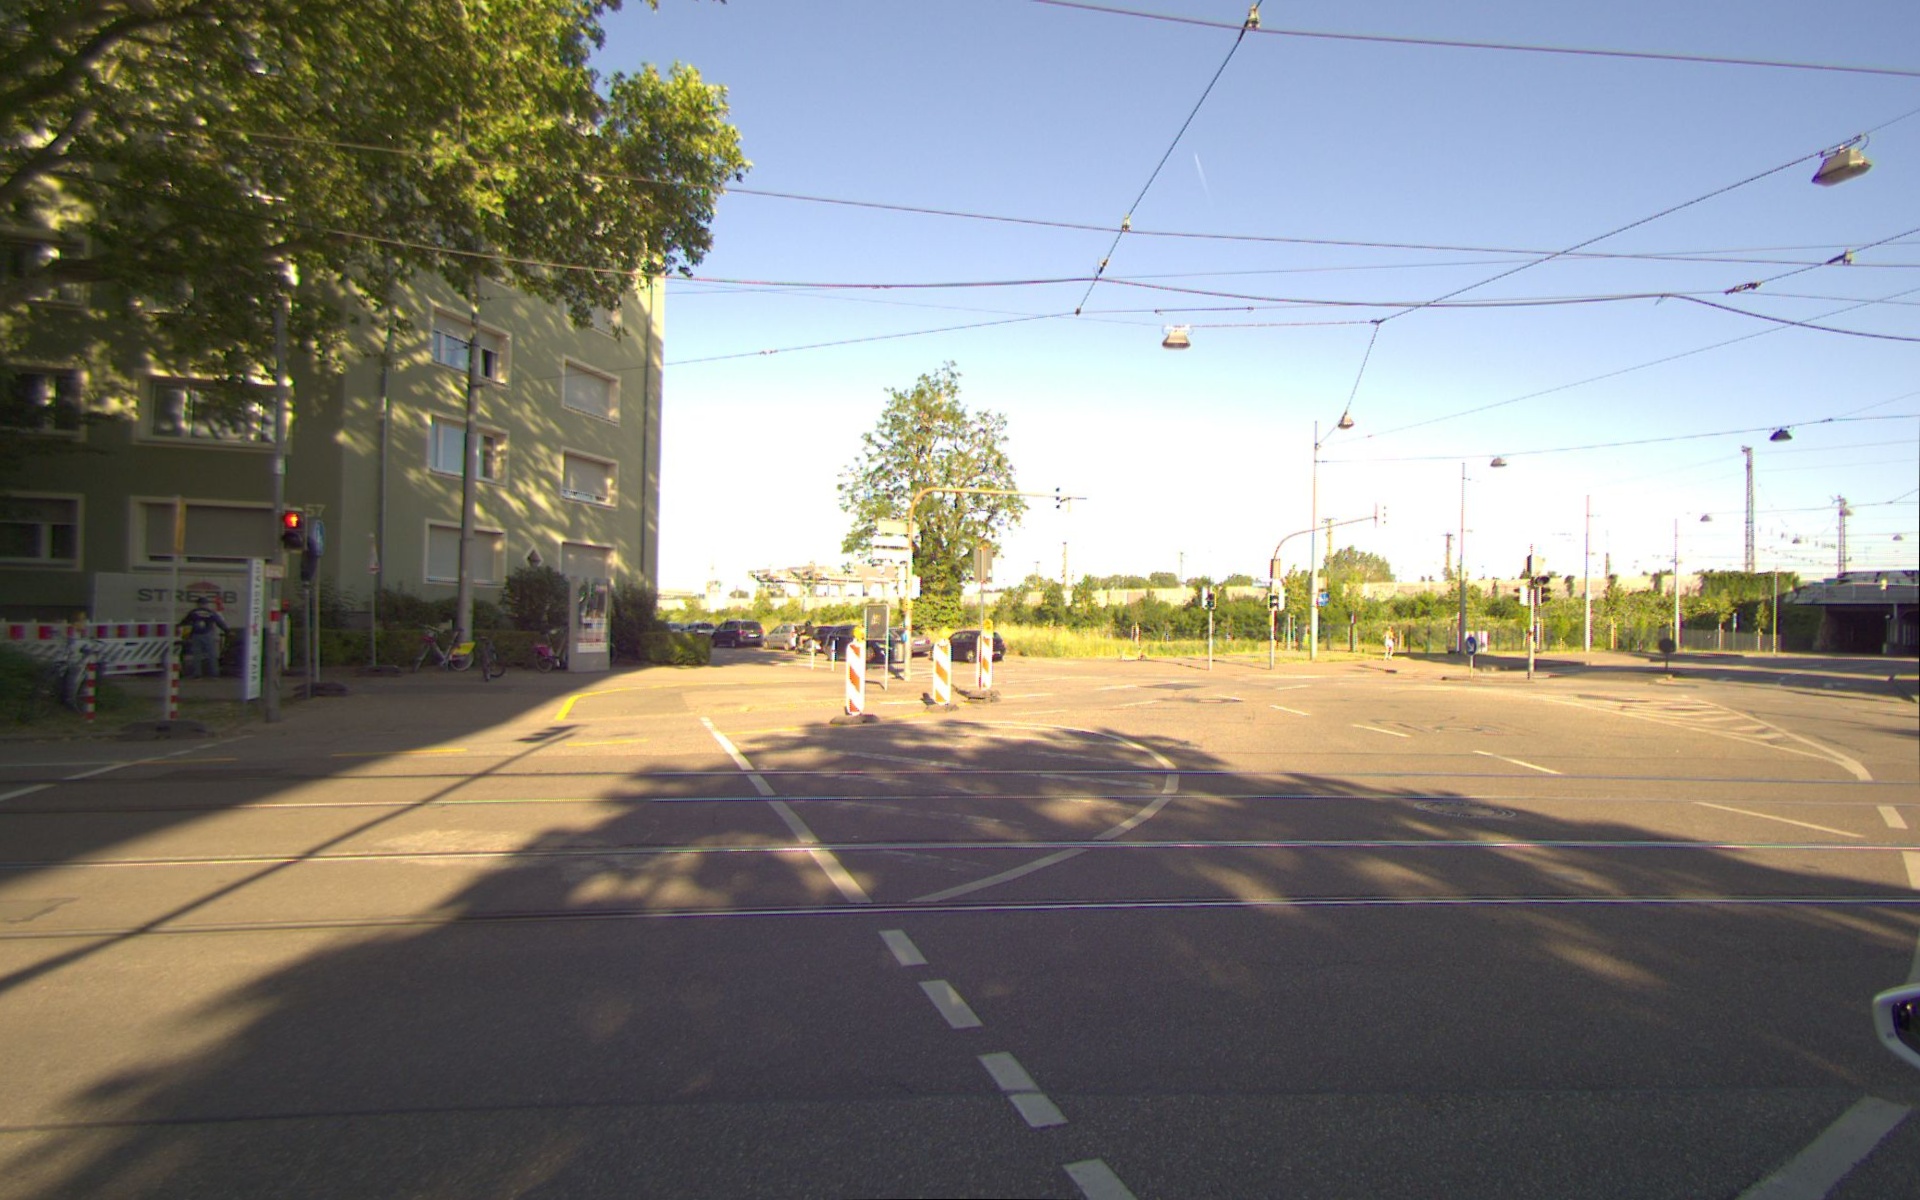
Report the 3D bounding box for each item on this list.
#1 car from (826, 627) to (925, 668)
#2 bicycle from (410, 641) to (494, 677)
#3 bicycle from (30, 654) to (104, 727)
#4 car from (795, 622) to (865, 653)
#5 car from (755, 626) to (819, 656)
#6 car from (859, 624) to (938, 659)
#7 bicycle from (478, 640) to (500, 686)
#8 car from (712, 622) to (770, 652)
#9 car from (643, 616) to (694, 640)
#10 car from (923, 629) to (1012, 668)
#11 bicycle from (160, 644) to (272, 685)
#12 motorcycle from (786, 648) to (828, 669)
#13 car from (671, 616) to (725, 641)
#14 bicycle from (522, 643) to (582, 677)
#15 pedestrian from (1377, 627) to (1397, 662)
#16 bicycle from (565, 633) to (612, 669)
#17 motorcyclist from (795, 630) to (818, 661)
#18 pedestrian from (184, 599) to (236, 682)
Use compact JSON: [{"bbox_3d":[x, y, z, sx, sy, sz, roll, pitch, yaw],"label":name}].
[{"bbox_3d":[-3.371,1.814,39.583,1.985,1.439,3.951,0,0,-41],"label":"car"},{"bbox_3d":[-11.562,1.327,22.932,0.352,0.769,1.776,0,-1,32],"label":"bicycle"},{"bbox_3d":[-12.344,1.221,13.923,0.354,0.900,1.562,1,-1,-27],"label":"bicycle"},{"bbox_3d":[-7.207,2.043,55.342,1.879,1.439,3.951,-6,4,-41],"label":"car"},{"bbox_3d":[-10.167,2.366,58.810,1.879,1.439,3.951,-6,4,-41],"label":"car"},{"bbox_3d":[-3.095,2.045,50.380,1.879,1.439,3.951,-6,4,-41],"label":"car"},{"bbox_3d":[-10.100,1.337,21.511,0.354,0.900,1.768,1,-1,-27],"label":"bicycle"},{"bbox_3d":[-13.840,2.318,63.366,1.879,1.590,3.951,-6,4,-41],"label":"car"},{"bbox_3d":[-20.715,1.990,71.248,1.879,1.439,3.951,-6,4,-41],"label":"car"},{"bbox_3d":[0.309,2.184,45.879,1.879,1.439,3.951,-6,4,-41],"label":"car"},{"bbox_3d":[-14.927,1.283,20.197,1.768,0.769,0.354,2,-2,-43],"label":"bicycle"},{"bbox_3d":[-7.500,2.838,49.190,2.311,0.882,0.728,2,-1,44],"label":"motorcycle"},{"bbox_3d":[-17.677,1.915,67.673,1.879,1.439,3.951,-6,4,-41],"label":"car"},{"bbox_3d":[-10.008,1.459,24.711,0.351,0.769,1.781,1,-1,15],"label":"bicycle"},{"bbox_3d":[20.194,2.108,47.535,0.679,1.617,0.594,2,0,-41],"label":"pedestrian"},{"bbox_3d":[-11.767,1.598,31.793,1.483,1.102,0.358,1,-1,20],"label":"bicycle"},{"bbox_3d":[-7.522,2.234,49.261,0.784,1.452,0.710,2,0,44],"label":"motorcyclist"},{"bbox_3d":[-14.725,0.796,19.719,0.737,1.589,0.595,2,-1,-43],"label":"pedestrian"}]
